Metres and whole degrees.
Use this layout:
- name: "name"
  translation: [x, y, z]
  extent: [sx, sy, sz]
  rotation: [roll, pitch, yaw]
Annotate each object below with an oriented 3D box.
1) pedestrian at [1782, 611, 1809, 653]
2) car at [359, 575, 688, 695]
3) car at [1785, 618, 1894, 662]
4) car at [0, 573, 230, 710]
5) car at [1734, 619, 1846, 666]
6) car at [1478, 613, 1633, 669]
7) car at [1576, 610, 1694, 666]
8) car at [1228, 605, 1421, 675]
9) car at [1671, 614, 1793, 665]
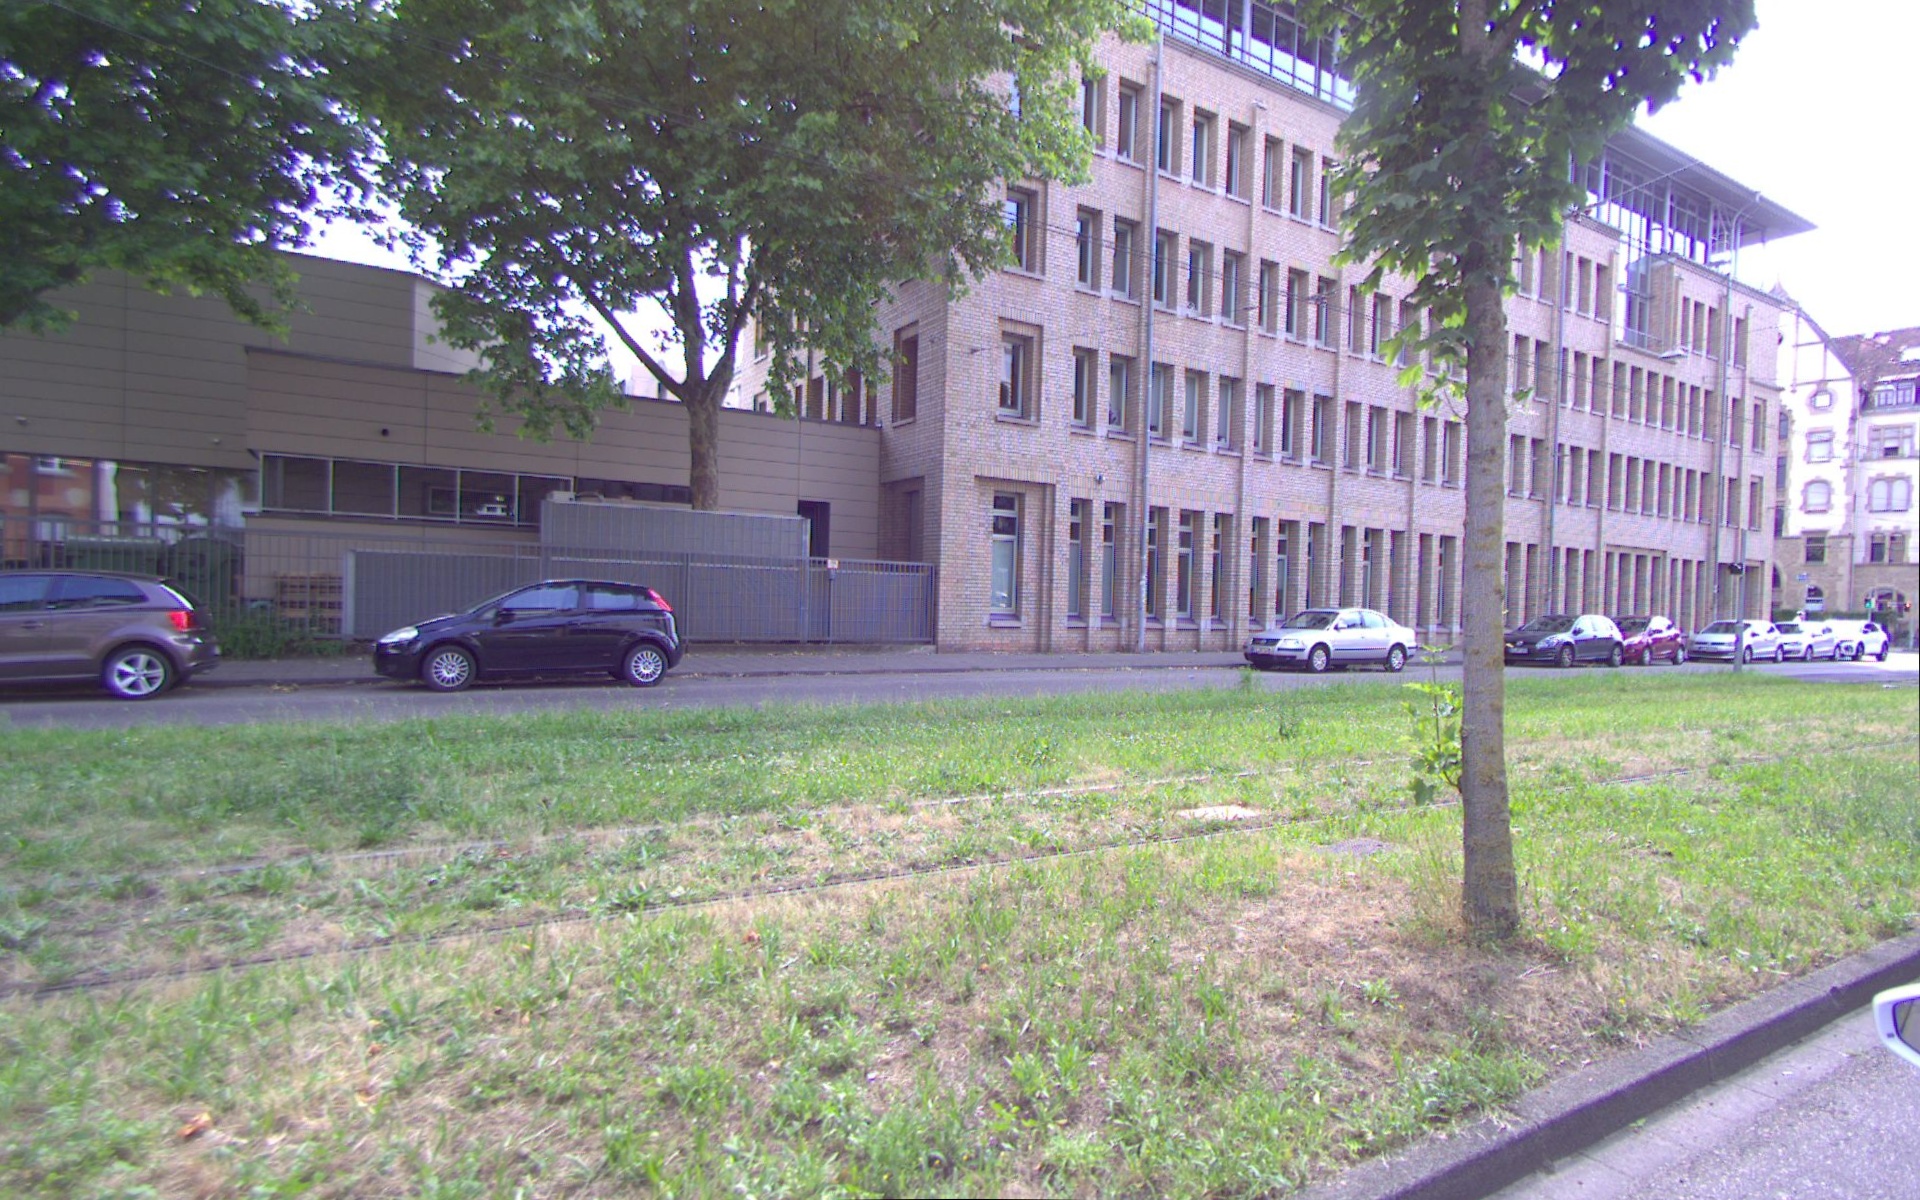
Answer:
- name: "pedestrian"
  translation: [37.123, 1.401, 44.644]
  extent: [0.749, 1.819, 0.957]
  rotation: [2, 1, 34]
- name: "car"
  translation: [-6.012, 0.461, 14.032]
  extent: [3.950, 1.472, 1.795]
  rotation: [2, 0, -28]
- name: "car"
  translation: [34.354, 1.559, 39.221]
  extent: [4.208, 1.555, 1.924]
  rotation: [2, 0, -30]
- name: "car"
  translation: [-10.646, 0.427, 11.218]
  extent: [3.857, 1.445, 1.546]
  rotation: [2, 0, -31]
- name: "car"
  translation: [30.479, 1.553, 36.874]
  extent: [3.967, 1.551, 1.924]
  rotation: [2, 0, -30]
- name: "car"
  translation: [16.717, 1.132, 28.165]
  extent: [4.189, 1.415, 1.924]
  rotation: [2, 0, -30]
- name: "car"
  translation: [20.585, 1.152, 30.624]
  extent: [3.508, 1.551, 1.575]
  rotation: [2, 1, -30]
- name: "car"
  translation: [8.369, 0.897, 22.965]
  extent: [4.432, 1.415, 1.707]
  rotation: [2, 0, -30]
- name: "car"
  translation: [26.199, 1.331, 34.068]
  extent: [4.160, 1.551, 1.842]
  rotation: [2, 0, -30]
